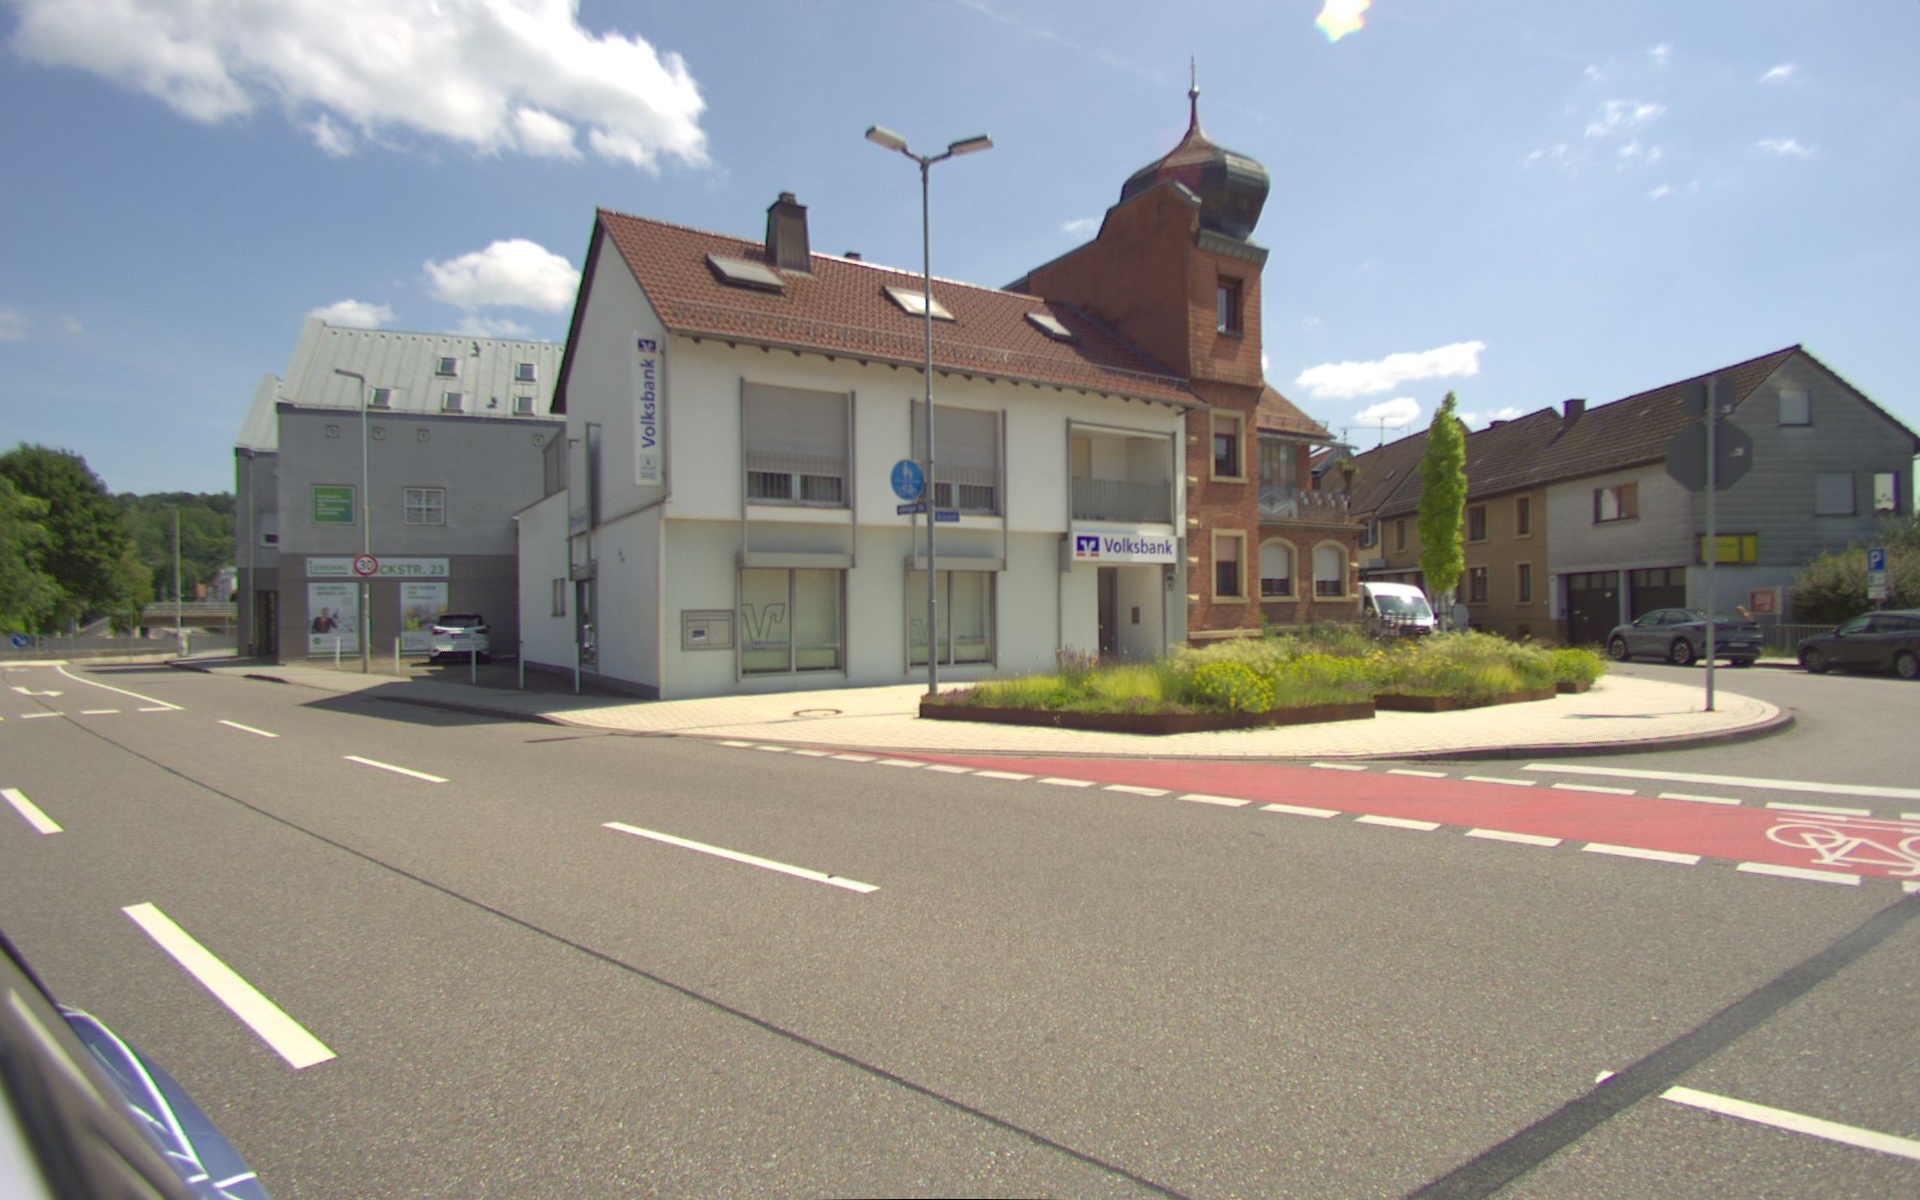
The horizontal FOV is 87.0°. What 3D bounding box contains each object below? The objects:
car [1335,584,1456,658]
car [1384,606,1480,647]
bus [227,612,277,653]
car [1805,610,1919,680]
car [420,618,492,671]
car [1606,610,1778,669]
[{"bbox_3d":[14.791,0.715,34.705,2.145,2.363,5.107,0,-1,3],"label":"car"},{"bbox_3d":[20.825,1.150,44.852,2.037,1.741,4.006,0,-1,-7],"label":"car"},{"bbox_3d":[-77.077,3.621,110.366,2.771,4.033,11.001,-1,-3,-26],"label":"bus"},{"bbox_3d":[21.312,0.962,22.423,1.836,1.475,3.998,-1,-1,2],"label":"car"},{"bbox_3d":[-16.290,1.408,32.790,1.965,1.587,4.266,0,-2,-26],"label":"car"},{"bbox_3d":[20.660,1.087,28.825,1.762,1.559,4.234,0,-1,-1],"label":"car"}]
